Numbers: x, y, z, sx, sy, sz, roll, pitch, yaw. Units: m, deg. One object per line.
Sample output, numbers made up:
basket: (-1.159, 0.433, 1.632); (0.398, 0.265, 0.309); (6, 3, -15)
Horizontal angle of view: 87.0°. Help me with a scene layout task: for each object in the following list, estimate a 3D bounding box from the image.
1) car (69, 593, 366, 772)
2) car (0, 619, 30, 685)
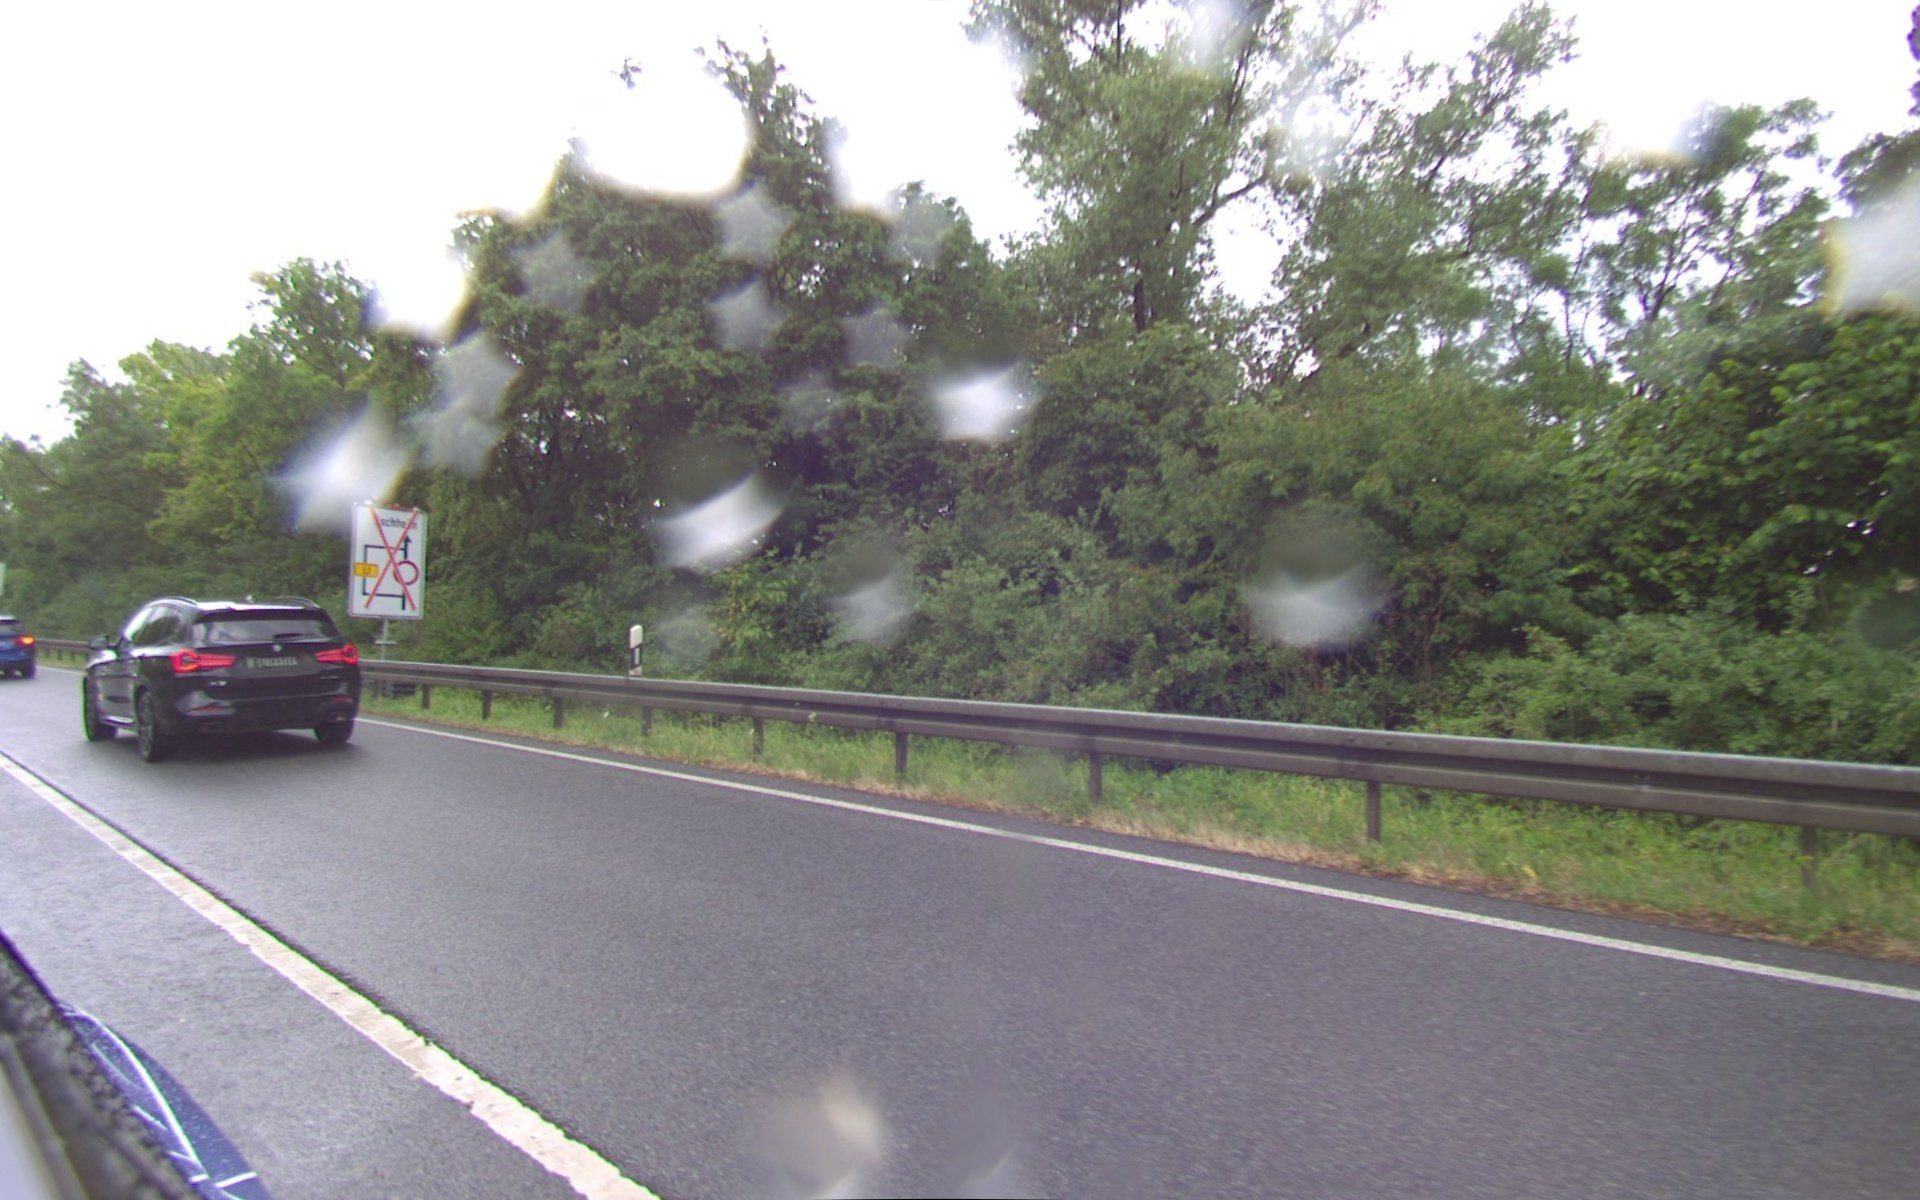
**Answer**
car: (-8.556, 0.800, 11.515); (4.296, 1.656, 1.828); (-1, 0, 41)
car: (-24.357, 1.248, 24.875); (3.909, 1.527, 1.690); (0, 0, 40)
